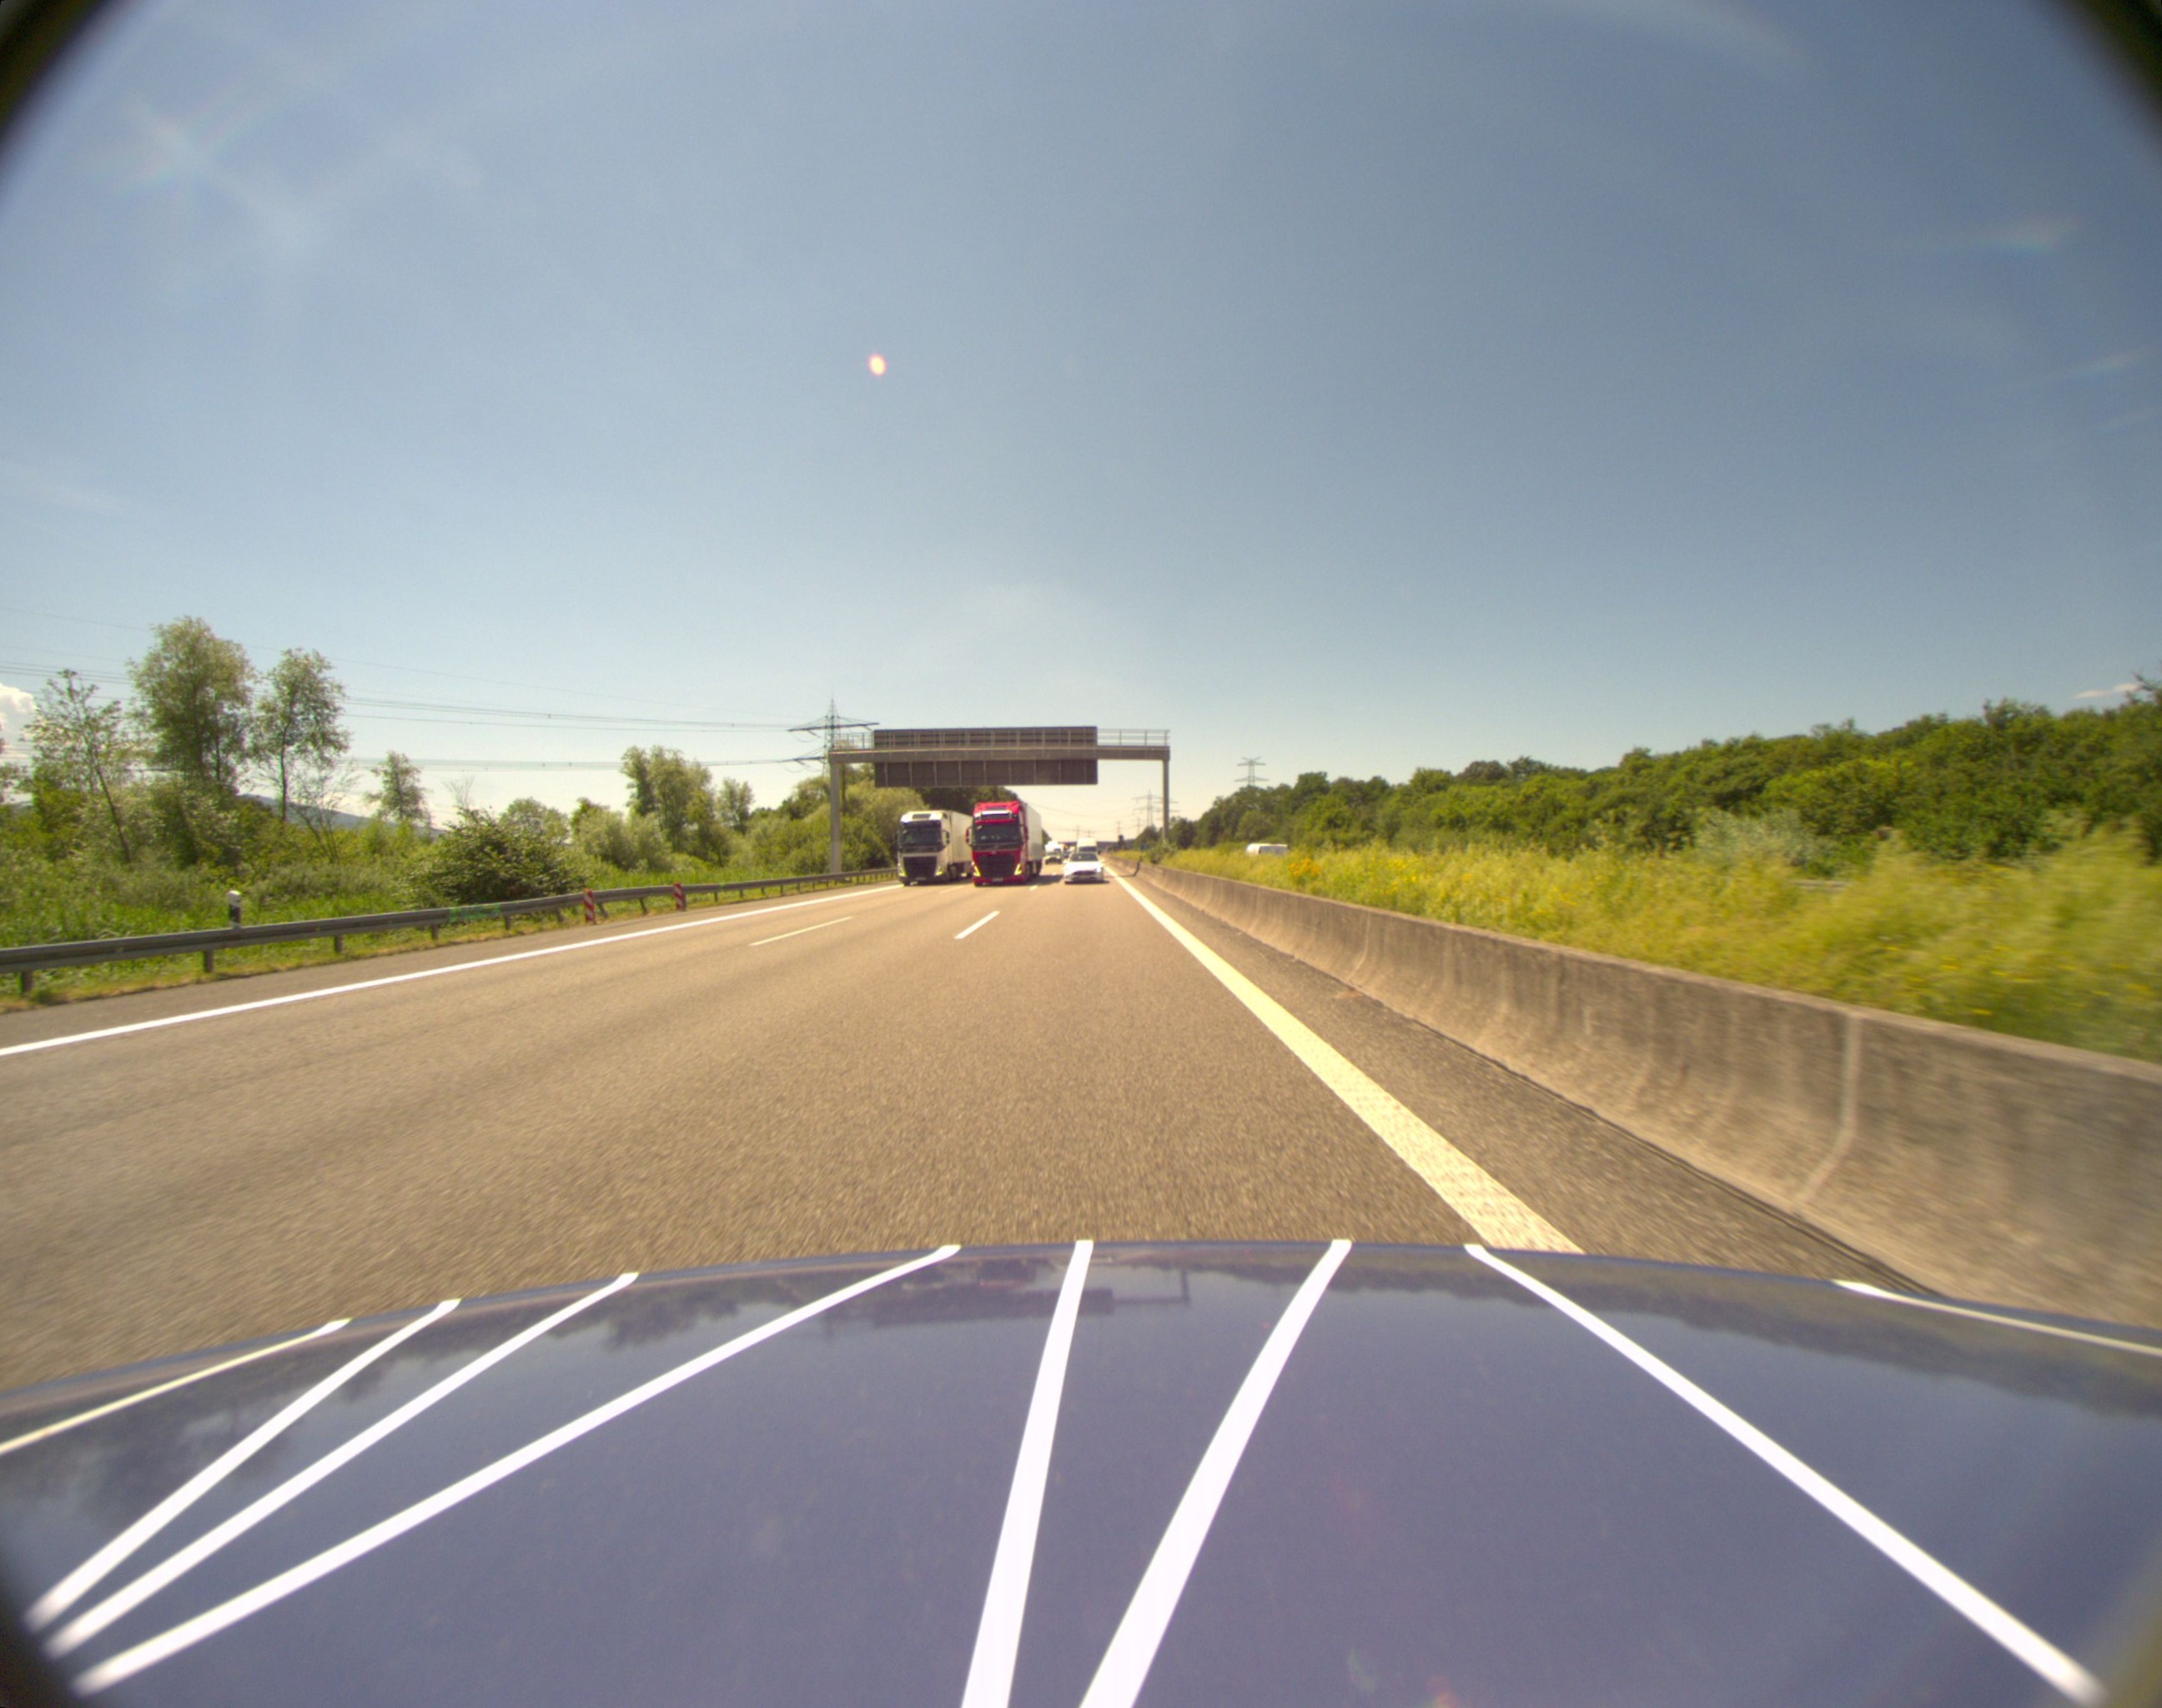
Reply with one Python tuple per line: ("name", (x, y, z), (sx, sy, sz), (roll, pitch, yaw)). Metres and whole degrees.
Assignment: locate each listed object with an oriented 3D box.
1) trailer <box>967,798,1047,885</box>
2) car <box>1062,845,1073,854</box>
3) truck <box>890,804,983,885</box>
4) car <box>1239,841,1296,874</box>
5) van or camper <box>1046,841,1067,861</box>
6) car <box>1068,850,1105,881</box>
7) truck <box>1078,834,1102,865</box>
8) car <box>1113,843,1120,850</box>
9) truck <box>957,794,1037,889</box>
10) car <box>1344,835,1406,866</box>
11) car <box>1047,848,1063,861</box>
("trailer", (-3.853, -0.686, 43.818), (2.945, 3.995, 16.197), (-2, 1, 0))
("car", (-2.664, -0.885, 149.590), (1.904, 1.662, 3.999), (-2, 0, 0))
("truck", (-8.159, -0.535, 44.706), (3.033, 4.069, 10.976), (-2, 1, 1))
("car", (10.384, 0.191, 42.638), (1.998, 1.710, 5.117), (-1, 0, 1))
("van or camper", (-3.172, -0.438, 98.761), (2.411, 2.483, 6.431), (-2, 0, 0))
("car", (0.270, 0.573, 39.739), (1.788, 1.462, 3.999), (-2, 1, 0))
("truck", (0.805, -0.443, 73.328), (2.192, 2.841, 5.503), (-1, 0, 0))
("car", (11.682, -2.442, 250.805), (1.998, 2.002, 6.222), (1, 0, 0))
("truck", (-3.806, -0.587, 35.748), (2.948, 3.963, 6.100), (-2, 1, 0))
("car", (17.450, -0.223, 45.359), (1.967, 1.666, 4.461), (-2, 1, 1))
("car", (-3.205, 0.067, 93.499), (1.788, 1.520, 4.104), (-2, 0, 0))
